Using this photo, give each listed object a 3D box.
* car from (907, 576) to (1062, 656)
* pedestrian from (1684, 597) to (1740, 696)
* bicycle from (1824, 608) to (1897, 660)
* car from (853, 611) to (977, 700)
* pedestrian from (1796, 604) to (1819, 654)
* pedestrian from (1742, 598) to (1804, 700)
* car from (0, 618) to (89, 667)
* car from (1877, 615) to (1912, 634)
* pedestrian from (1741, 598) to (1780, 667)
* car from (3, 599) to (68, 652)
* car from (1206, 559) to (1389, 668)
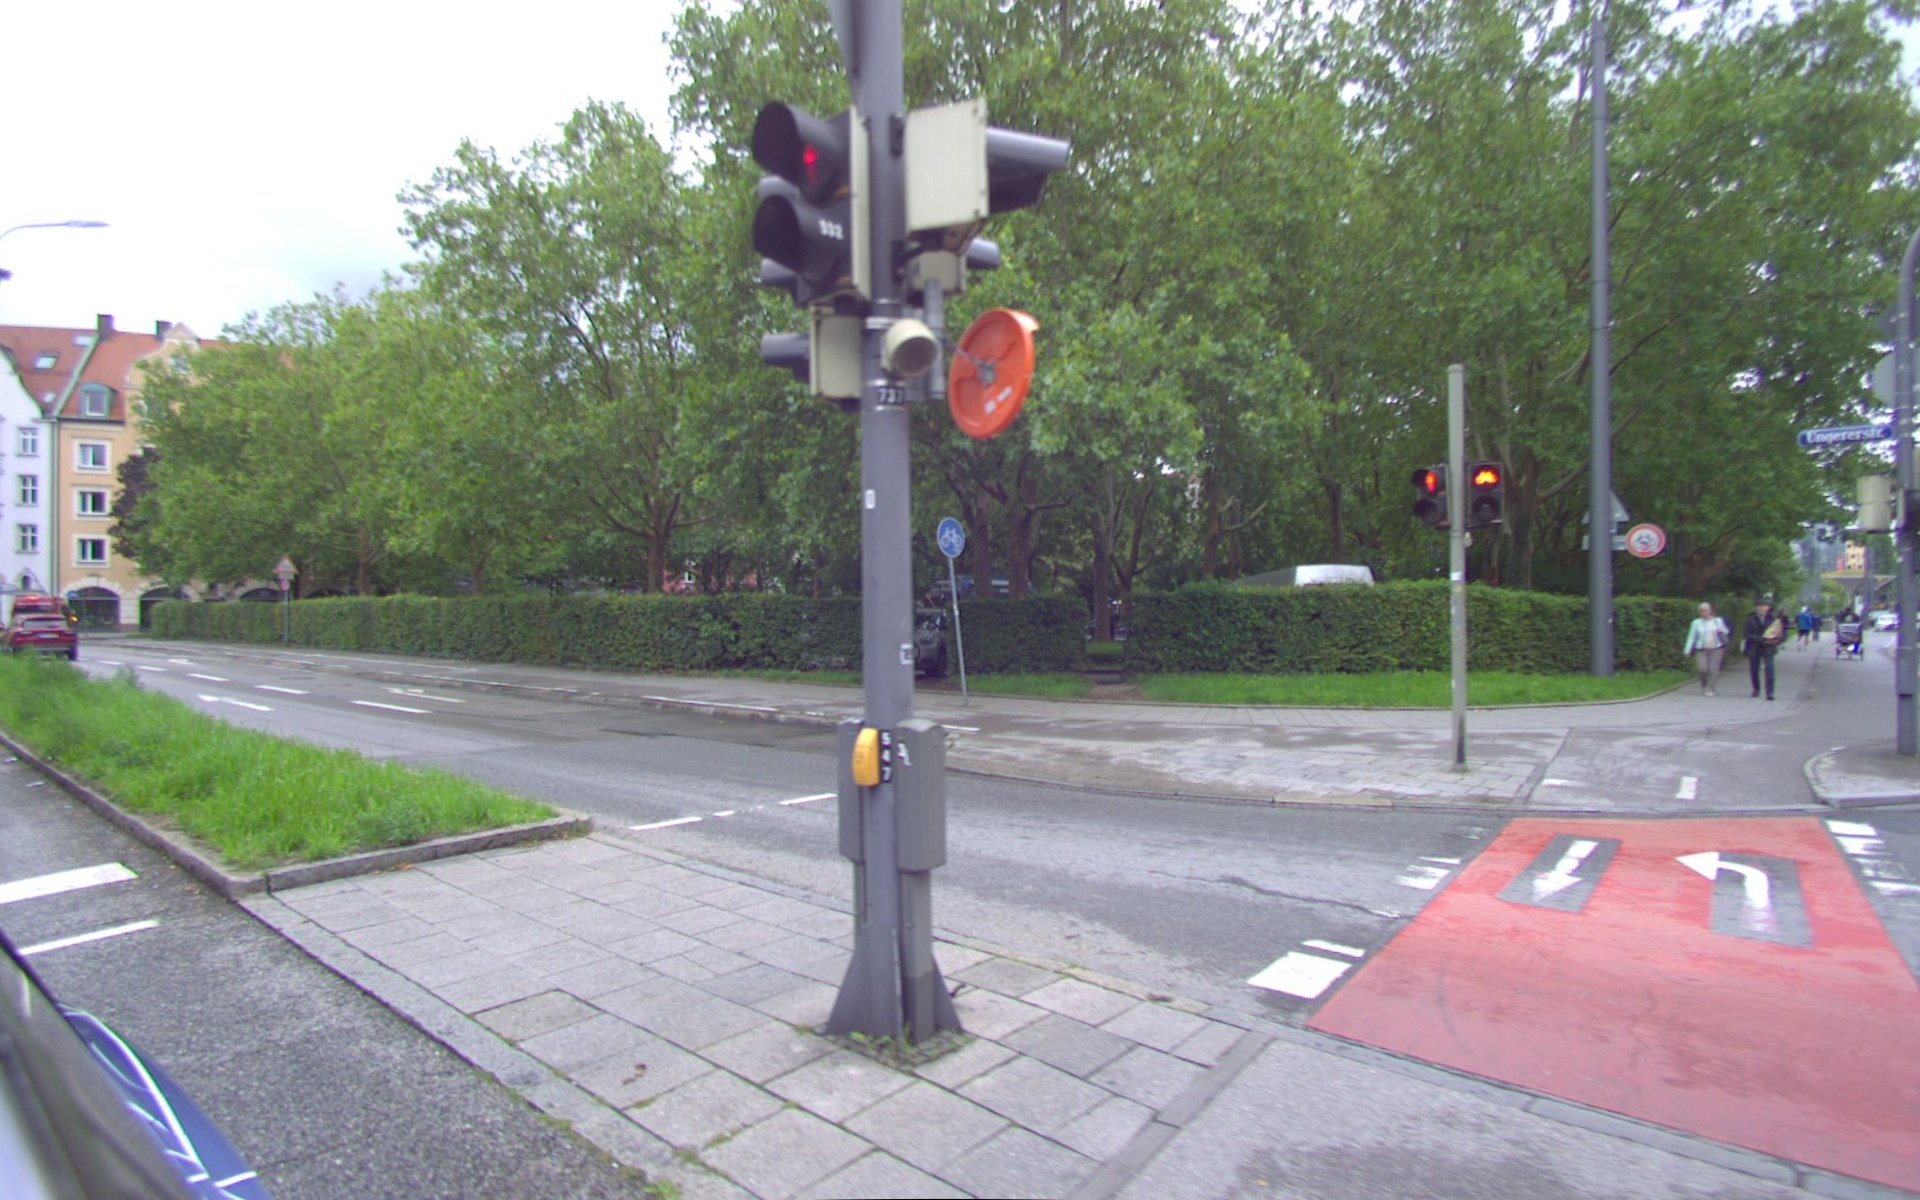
[{"bbox_3d":[0.971,0.462,35.227,2.001,2.554,5.779,0,1,44],"label":"car"},{"bbox_3d":[13.098,0.797,17.645,0.683,1.676,0.549,-1,-1,29],"label":"pedestrian"},{"bbox_3d":[29.315,1.065,33.022,1.528,1.479,3.949,0,1,38],"label":"bicycle"},{"bbox_3d":[-0.943,1.190,23.258,1.762,1.776,3.503,-1,1,17],"label":"car"},{"bbox_3d":[35.000,1.202,41.798,0.669,2.029,0.617,-1,1,-42],"label":"pedestrian"},{"bbox_3d":[13.846,0.821,17.245,0.683,1.676,0.655,-1,-1,29],"label":"pedestrian"},{"bbox_3d":[-33.345,1.537,36.610,4.936,1.650,2.081,-3,-3,41],"label":"car"},{"bbox_3d":[78.869,2.079,85.456,1.803,1.542,4.459,-3,-3,39],"label":"car"},{"bbox_3d":[21.418,0.862,27.100,0.683,1.824,0.655,-1,-1,29],"label":"pedestrian"},{"bbox_3d":[-48.358,1.387,52.893,6.082,2.609,2.080,-3,-3,44],"label":"car"},{"bbox_3d":[7.444,0.421,22.911,1.968,2.029,4.635,-1,-6,-8],"label":"car"}]
